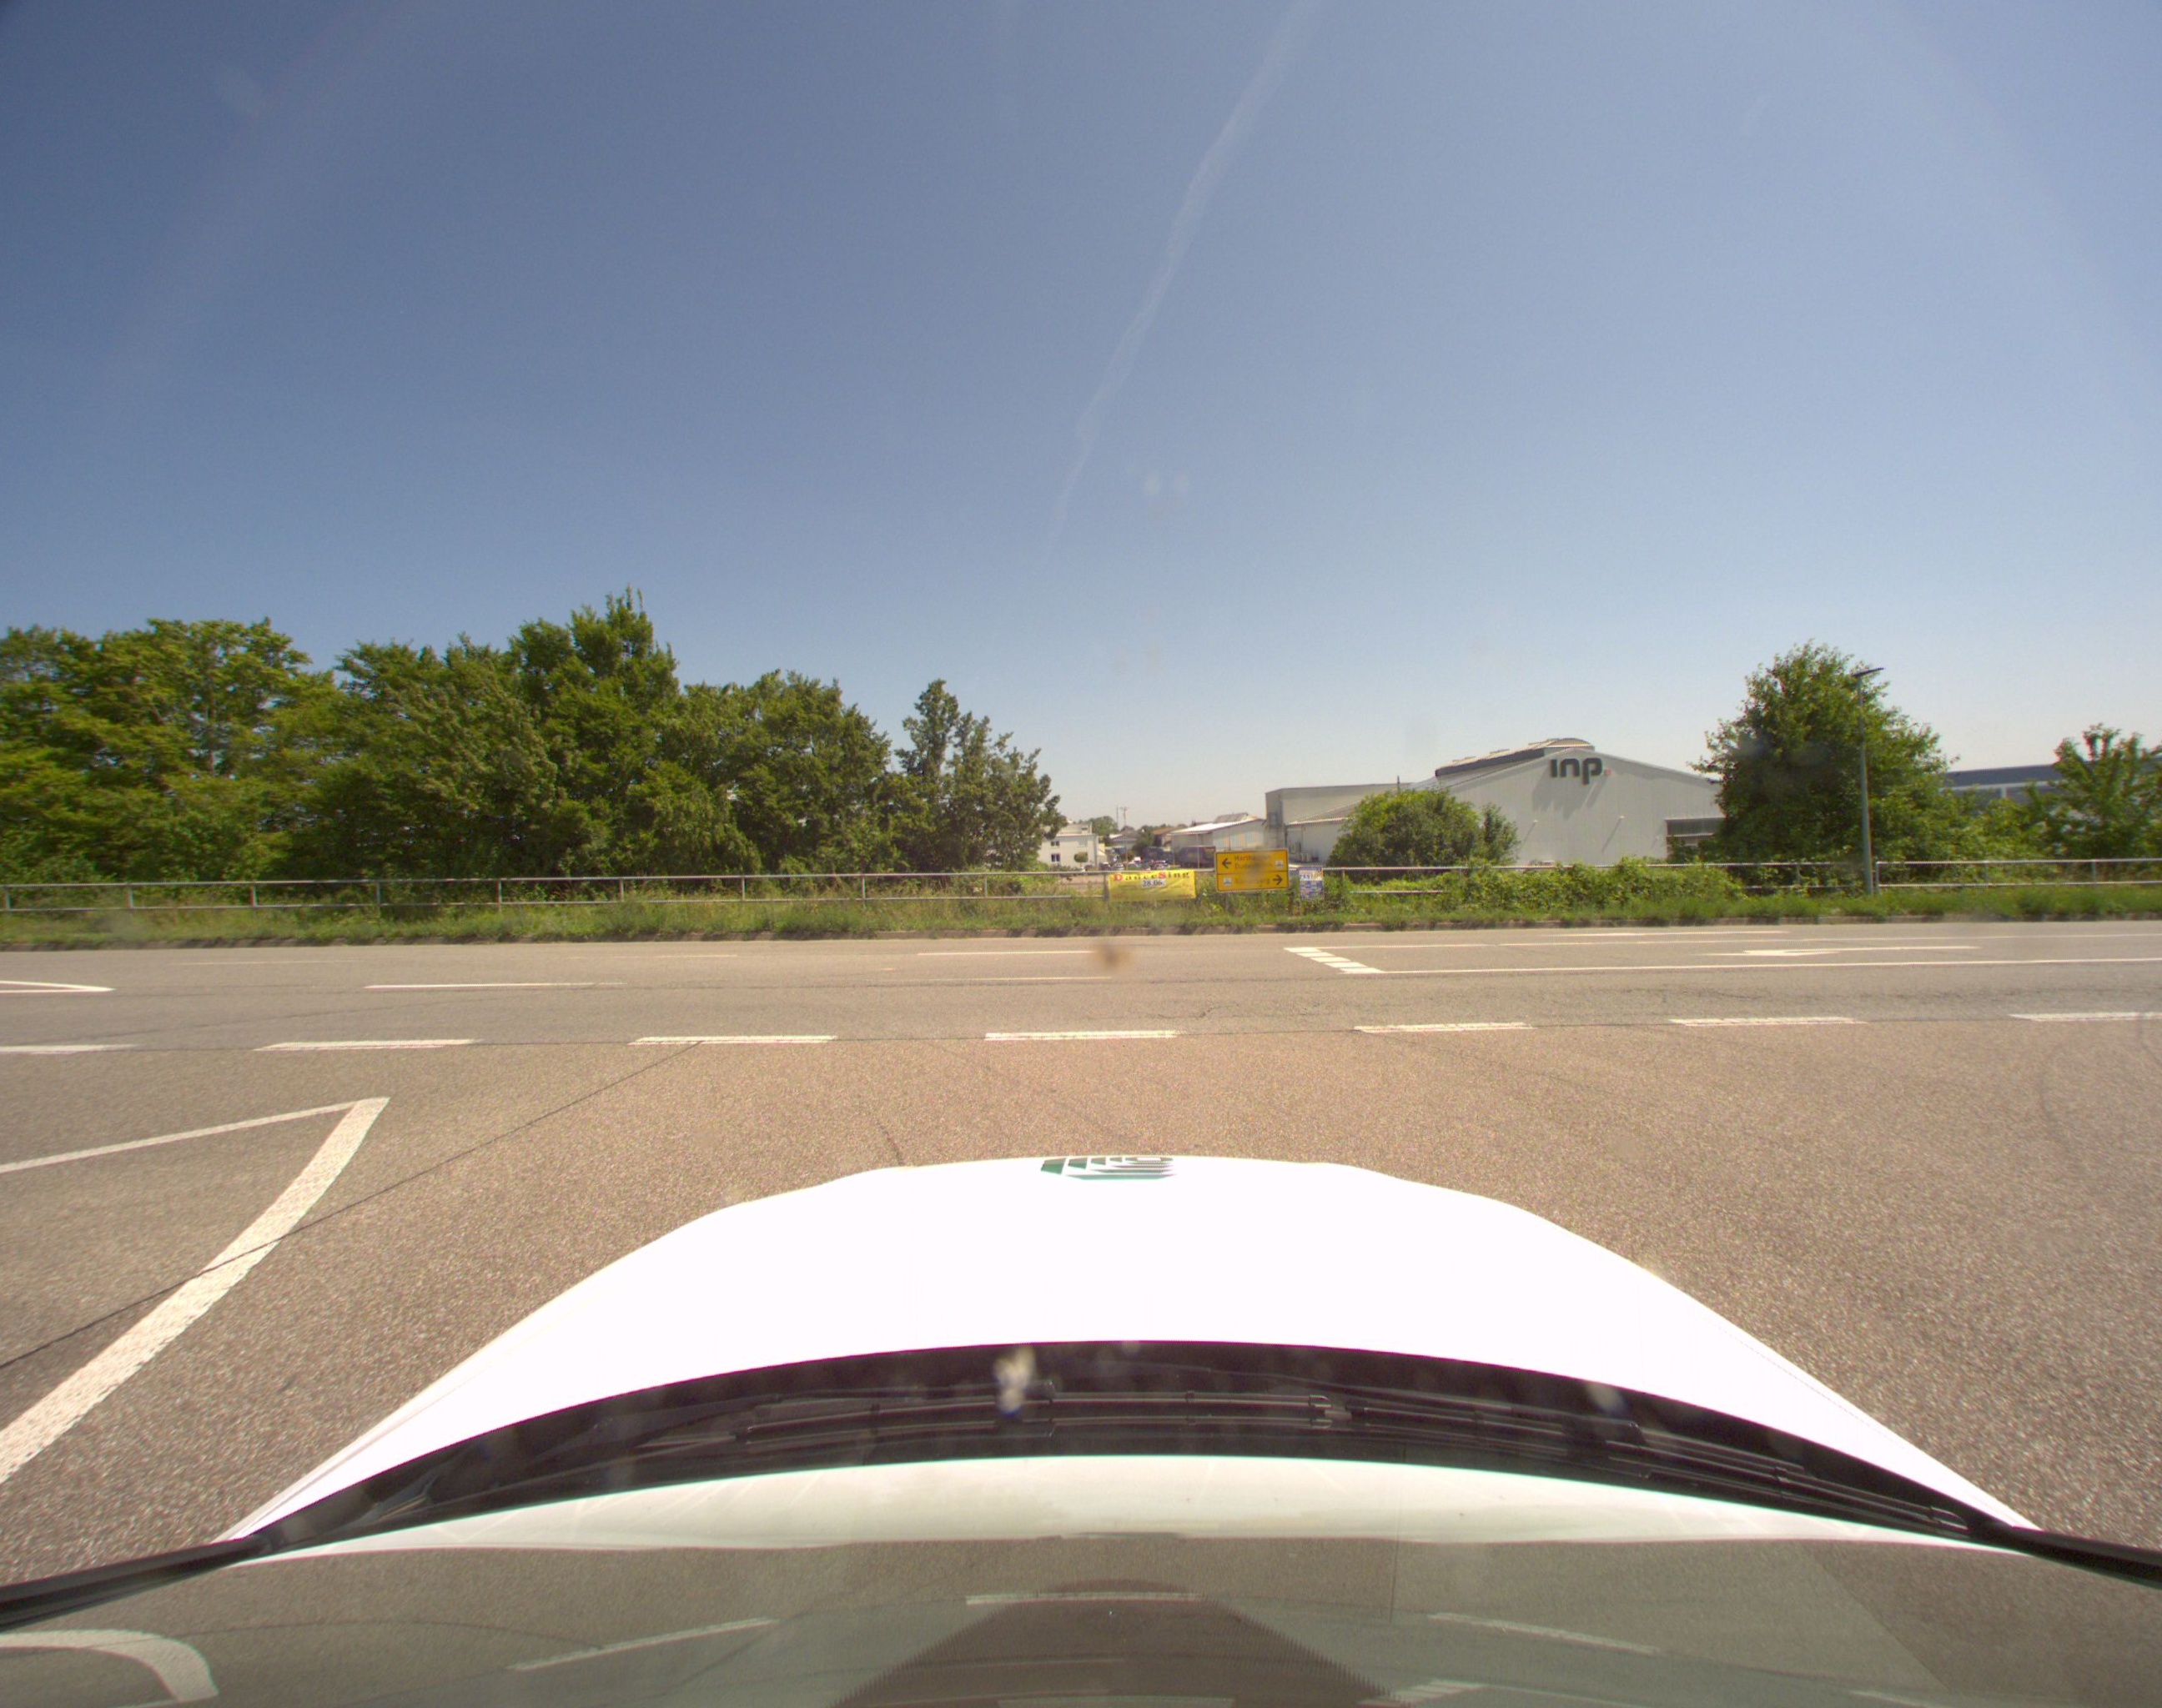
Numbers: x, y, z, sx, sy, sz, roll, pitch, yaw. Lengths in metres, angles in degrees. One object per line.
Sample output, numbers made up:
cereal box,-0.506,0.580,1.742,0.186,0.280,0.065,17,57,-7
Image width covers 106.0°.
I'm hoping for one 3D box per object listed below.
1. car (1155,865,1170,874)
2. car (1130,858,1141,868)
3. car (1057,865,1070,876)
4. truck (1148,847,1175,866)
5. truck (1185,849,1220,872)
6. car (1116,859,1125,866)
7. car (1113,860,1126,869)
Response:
car,13.873,2.622,139.318,1.681,1.363,3.827,-4,0,-6
car,12.101,1.965,179.738,1.715,2.013,3.991,-1,0,-7
car,-3.306,3.054,152.510,1.992,2.013,4.851,-1,0,-7
truck,18.686,0.598,190.493,3.407,4.311,14.563,-1,0,-6
truck,23.178,1.206,156.290,3.702,4.311,13.319,-1,0,-5
car,8.823,1.900,182.475,1.449,1.350,3.307,-1,0,-7
car,8.228,2.256,173.489,1.992,1.731,4.851,-1,0,-7
